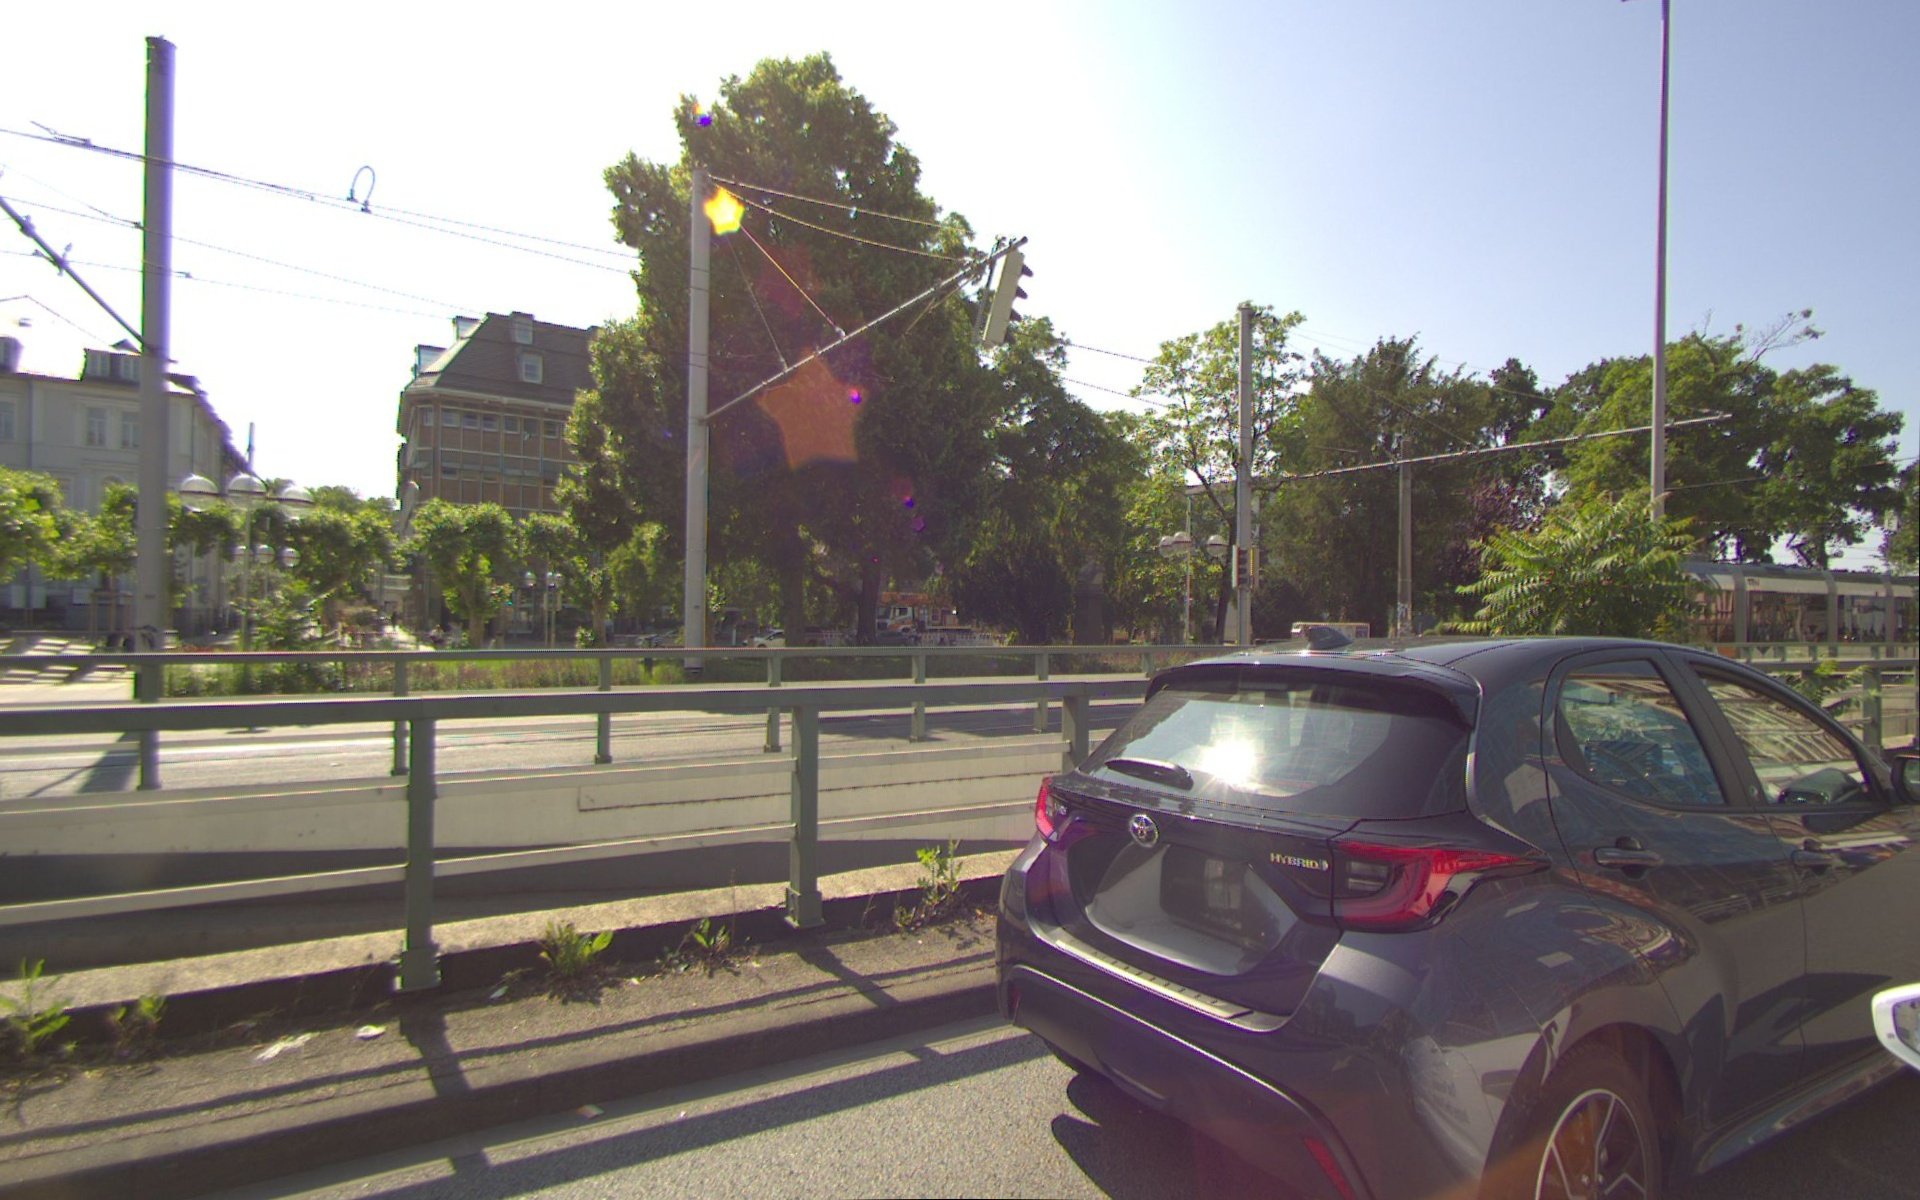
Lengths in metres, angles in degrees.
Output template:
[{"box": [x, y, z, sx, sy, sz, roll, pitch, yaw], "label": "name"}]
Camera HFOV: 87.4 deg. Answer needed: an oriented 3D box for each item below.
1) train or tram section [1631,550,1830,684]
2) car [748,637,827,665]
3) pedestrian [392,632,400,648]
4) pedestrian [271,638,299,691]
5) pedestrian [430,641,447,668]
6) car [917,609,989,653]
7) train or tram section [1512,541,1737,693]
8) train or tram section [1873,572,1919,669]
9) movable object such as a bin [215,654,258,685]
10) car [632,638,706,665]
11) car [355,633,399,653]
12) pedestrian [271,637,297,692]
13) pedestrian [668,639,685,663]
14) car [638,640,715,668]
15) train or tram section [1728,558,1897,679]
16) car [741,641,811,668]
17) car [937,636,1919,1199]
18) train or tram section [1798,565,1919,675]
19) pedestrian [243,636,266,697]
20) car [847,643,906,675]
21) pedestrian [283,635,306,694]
[{"box": [22.886, 0.500, 29.784, 6.033, 3.629, 2.600, 1, 0, -31], "label": "train or tram section"}, {"box": [-11.166, 3.296, 65.236, 4.798, 1.685, 1.743, 1, 0, -36], "label": "car"}, {"box": [-46.120, 3.259, 82.122, 0.471, 1.279, 0.513, 0, -4, -35], "label": "pedestrian"}, {"box": [-19.931, 1.904, 29.675, 0.655, 1.512, 0.521, 1, -4, -38], "label": "pedestrian"}, {"box": [-24.588, 2.571, 47.339, 0.569, 1.279, 0.526, -4, -4, 39], "label": "pedestrian"}, {"box": [-0.564, 2.456, 79.831, 5.358, 3.360, 2.116, 1, 0, -31], "label": "car"}, {"box": [17.706, 0.444, 26.691, 6.033, 3.629, 2.600, 1, 0, -31], "label": "train or tram section"}, {"box": [38.402, 0.815, 39.105, 5.948, 3.629, 2.600, 1, 0, -31], "label": "train or tram section"}, {"box": [-18.898, 1.808, 26.255, 0.790, 0.764, 0.903, 0, -4, -30], "label": "movable object such as a bin"}, {"box": [-17.677, 3.119, 61.139, 3.962, 1.528, 1.743, 1, 0, -36], "label": "car"}, {"box": [-61.618, 4.542, 106.249, 3.953, 1.940, 1.984, 1, 0, -31], "label": "car"}, {"box": [-20.619, 1.968, 30.637, 0.615, 1.630, 0.488, 1, -4, -40], "label": "pedestrian"}, {"box": [-15.451, 2.791, 54.725, 0.655, 1.279, 0.744, 1, -4, -42], "label": "pedestrian"}, {"box": [-16.504, 3.120, 58.514, 3.962, 1.528, 1.743, 1, 0, -36], "label": "car"}, {"box": [27.750, 0.599, 32.678, 5.295, 3.629, 2.600, 1, 0, -31], "label": "train or tram section"}, {"box": [-11.385, 3.339, 62.220, 3.962, 1.528, 1.743, 1, 0, -36], "label": "car"}, {"box": [2.066, 0.884, 3.479, 3.952, 1.494, 1.769, 1, -3, -30], "label": "car"}, {"box": [32.942, 0.704, 35.804, 6.818, 3.629, 2.600, 1, 0, -31], "label": "train or tram section"}, {"box": [-19.146, 1.808, 27.281, 0.460, 1.630, 0.449, 0, -3, -30], "label": "pedestrian"}, {"box": [-5.812, 4.080, 70.194, 3.602, 2.040, 1.984, 1, 0, -31], "label": "car"}, {"box": [-18.451, 1.786, 27.852, 0.491, 1.630, 0.410, 1, -4, -39], "label": "pedestrian"}]
